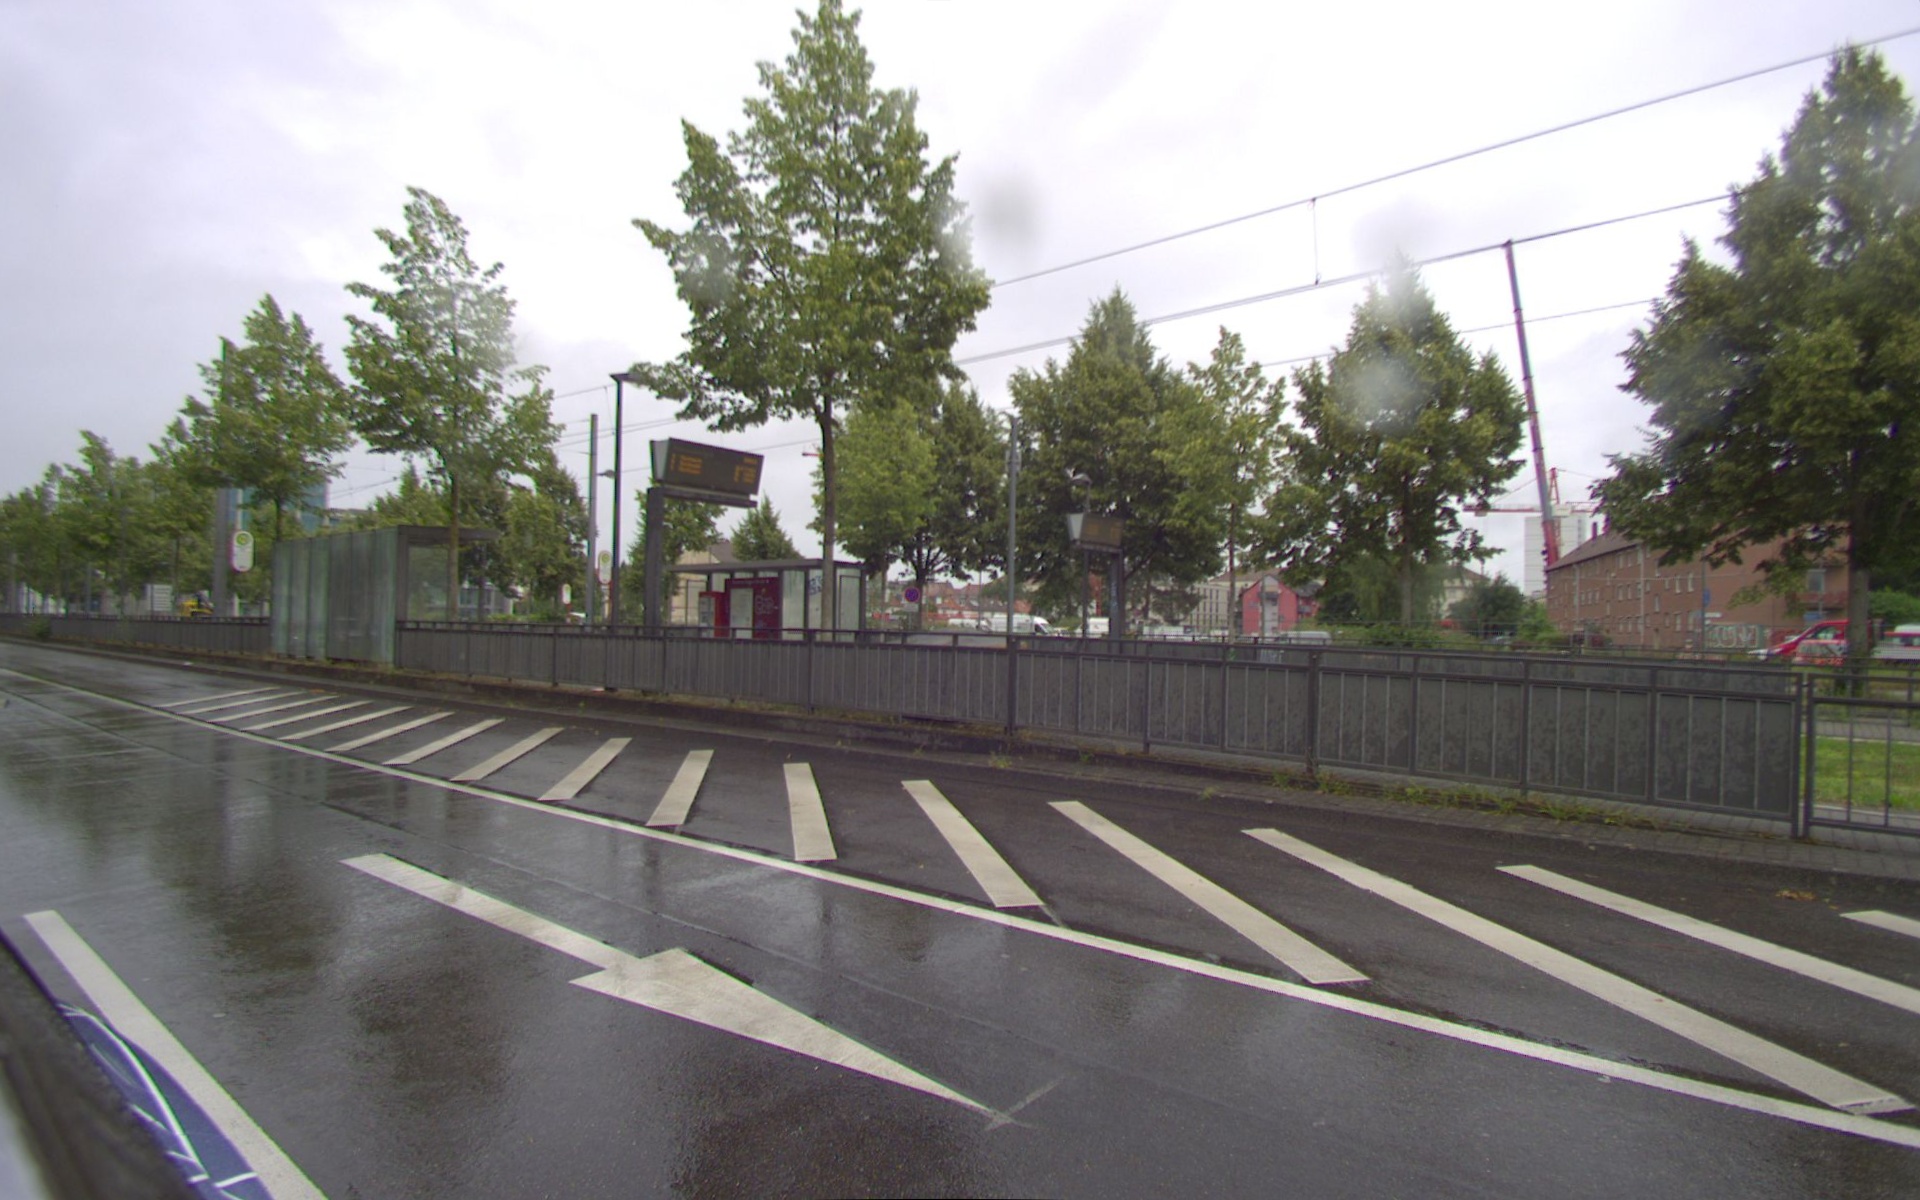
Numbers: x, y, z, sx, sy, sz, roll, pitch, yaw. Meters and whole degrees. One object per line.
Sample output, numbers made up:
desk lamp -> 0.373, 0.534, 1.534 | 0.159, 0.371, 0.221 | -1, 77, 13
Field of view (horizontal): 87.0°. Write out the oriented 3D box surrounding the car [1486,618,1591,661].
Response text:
car -> 35.722, 2.404, 62.538 | 5.482, 2.471, 1.976 | 0, 0, 36

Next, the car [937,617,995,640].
car -> 0.607, 2.972, 108.317 | 6.123, 2.323, 1.978 | 0, 0, 32

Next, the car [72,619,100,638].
car -> -96.765, 3.135, 111.988 | 3.997, 2.029, 1.739 | -1, -2, 41

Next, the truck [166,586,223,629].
truck -> -70.613, 0.642, 93.288 | 9.184, 3.806, 2.657 | 0, 0, 43

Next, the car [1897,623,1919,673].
car -> 45.938, 2.158, 44.977 | 1.597, 2.296, 6.114 | 2, -3, -37

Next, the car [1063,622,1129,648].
car -> 11.904, 3.012, 88.682 | 5.411, 2.067, 1.976 | 0, 0, 37

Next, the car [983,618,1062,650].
car -> 5.245, 2.840, 85.801 | 6.735, 2.480, 1.975 | 0, 0, 37

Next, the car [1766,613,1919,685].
car -> 33.496, 1.756, 36.645 | 1.597, 2.489, 6.500 | 2, -2, -39

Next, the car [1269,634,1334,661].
car -> 26.285, 3.611, 77.860 | 4.415, 1.891, 1.855 | 0, 0, 34
